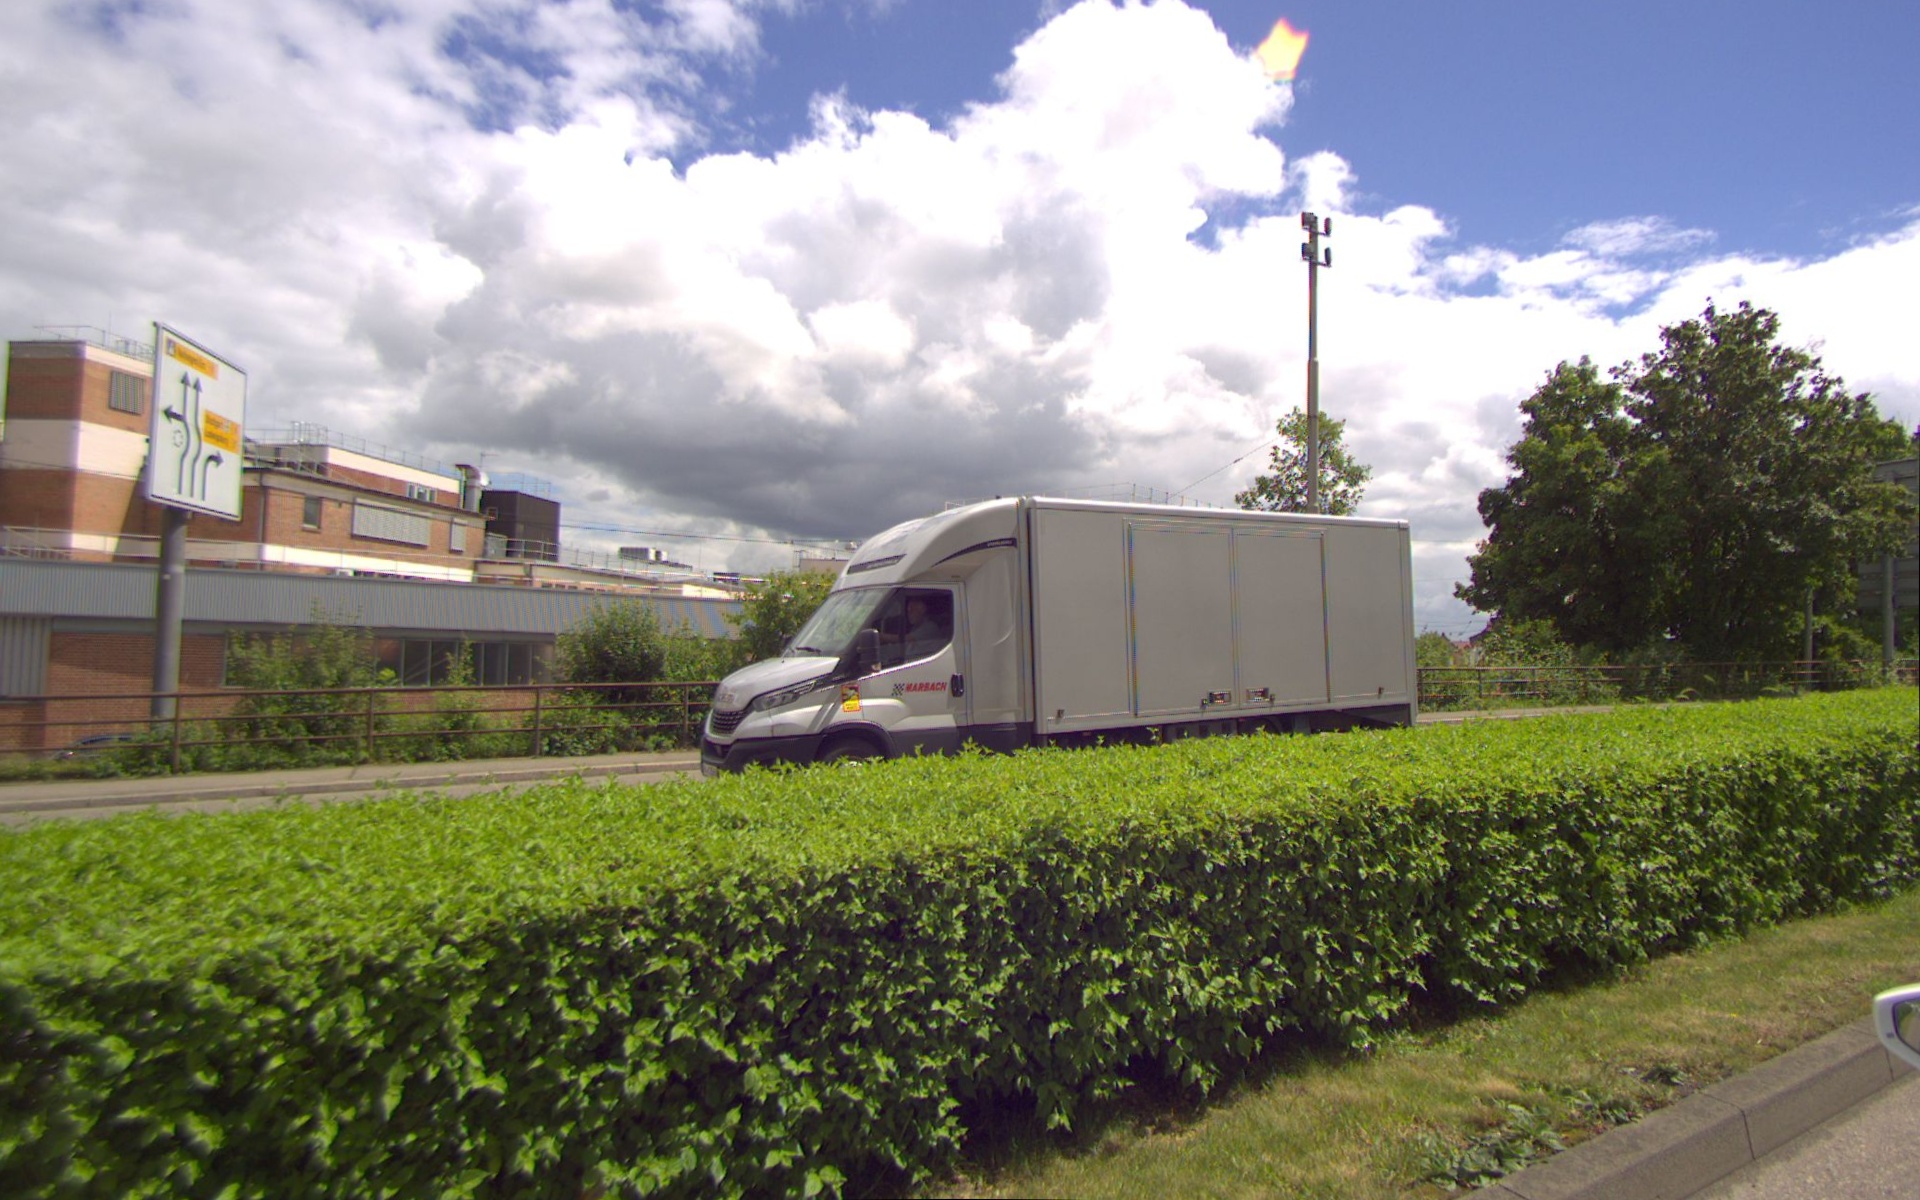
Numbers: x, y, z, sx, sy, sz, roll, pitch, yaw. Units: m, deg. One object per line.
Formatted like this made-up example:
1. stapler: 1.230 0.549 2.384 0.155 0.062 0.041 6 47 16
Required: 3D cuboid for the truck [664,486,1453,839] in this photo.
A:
1. truck: 1.565 0.503 11.776 9.263 2.895 2.843 -1 -1 -30
